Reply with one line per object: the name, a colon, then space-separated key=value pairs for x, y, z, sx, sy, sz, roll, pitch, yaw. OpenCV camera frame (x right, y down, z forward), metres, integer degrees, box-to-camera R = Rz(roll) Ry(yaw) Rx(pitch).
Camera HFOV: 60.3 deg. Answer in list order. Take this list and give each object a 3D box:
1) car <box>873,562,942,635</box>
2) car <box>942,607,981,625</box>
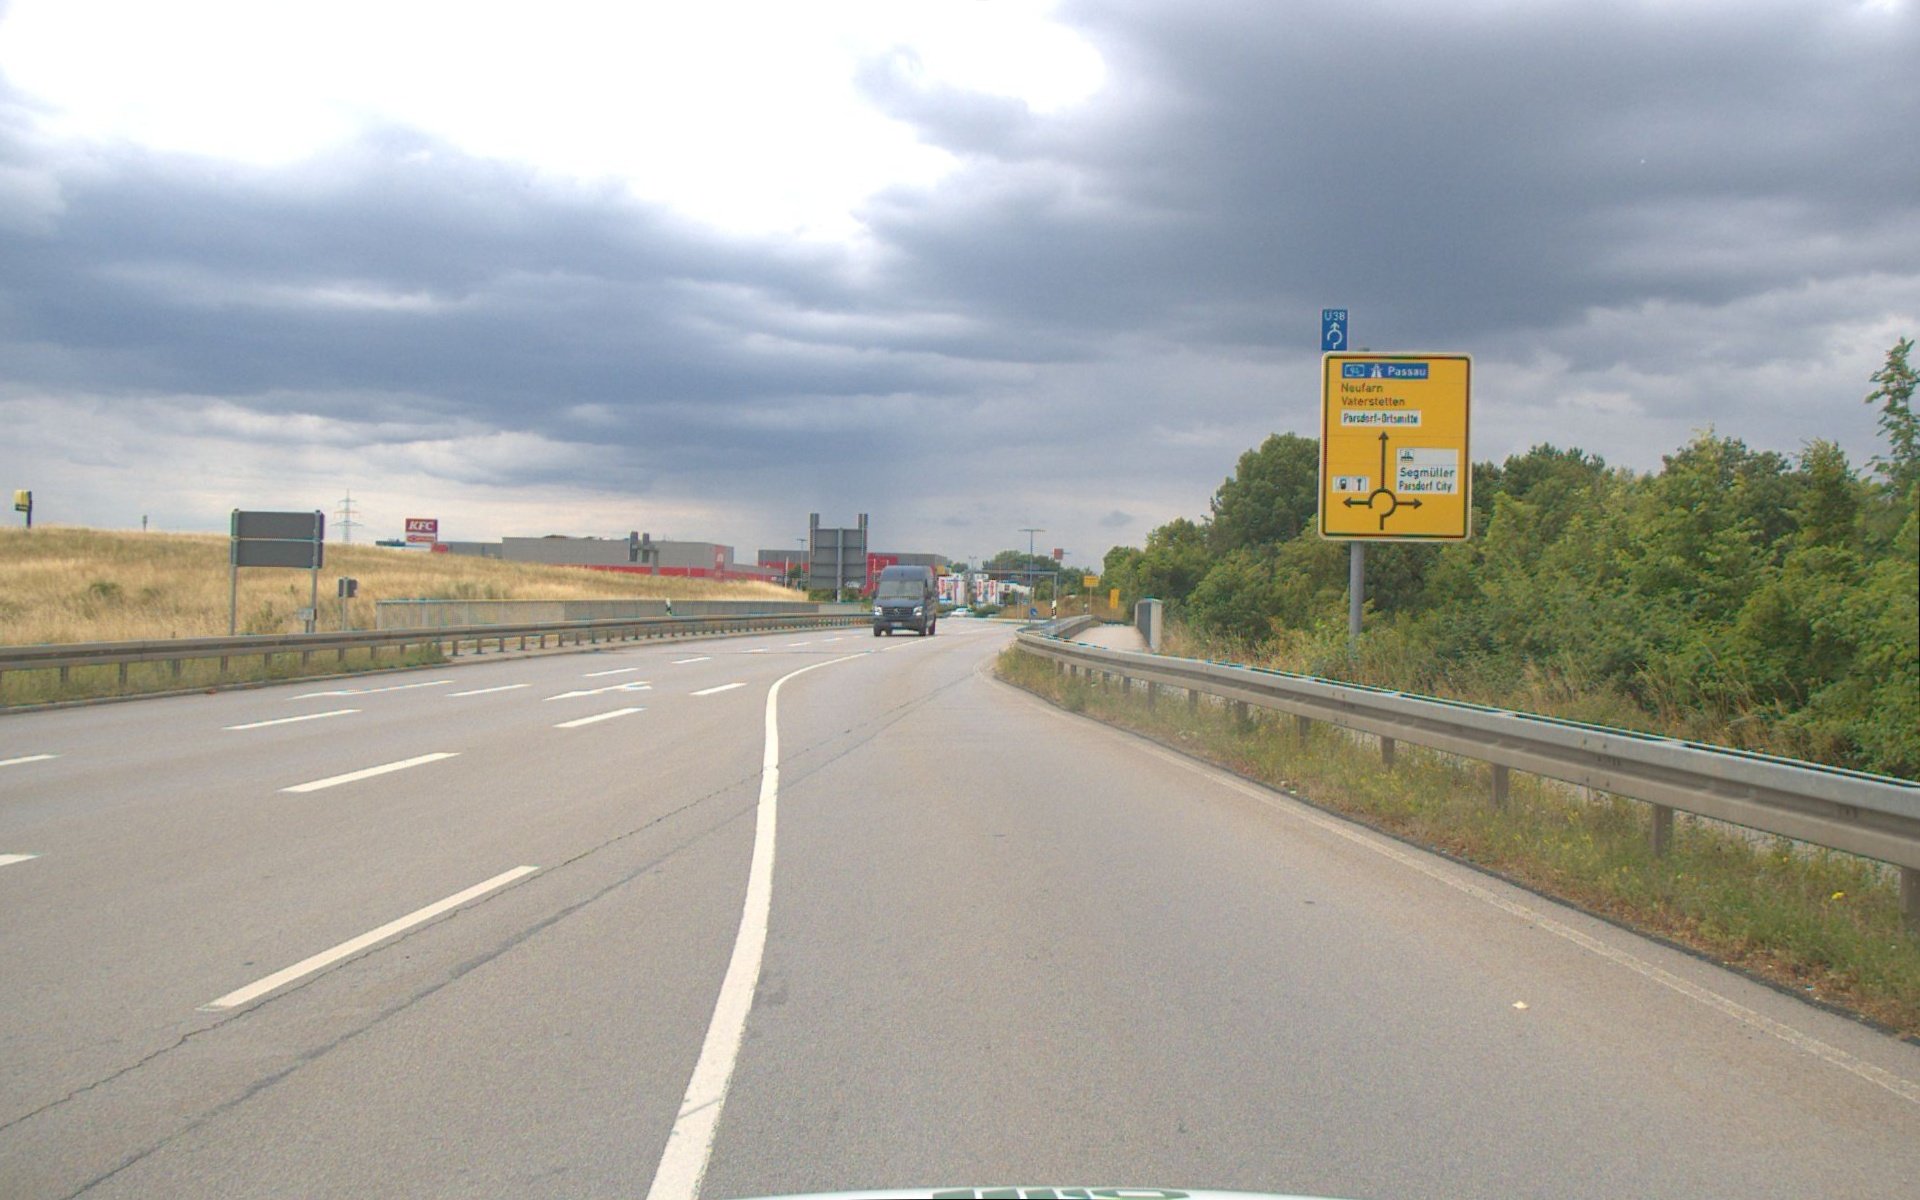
car: x=-1.947 y=-0.065 z=63.130 sx=1.951 sy=2.637 sz=6.007 roll=1 pitch=0 yaw=4
car: x=0.155 y=1.752 z=186.788 sx=3.911 sy=1.909 sz=1.997 roll=2 pitch=0 yaw=29
